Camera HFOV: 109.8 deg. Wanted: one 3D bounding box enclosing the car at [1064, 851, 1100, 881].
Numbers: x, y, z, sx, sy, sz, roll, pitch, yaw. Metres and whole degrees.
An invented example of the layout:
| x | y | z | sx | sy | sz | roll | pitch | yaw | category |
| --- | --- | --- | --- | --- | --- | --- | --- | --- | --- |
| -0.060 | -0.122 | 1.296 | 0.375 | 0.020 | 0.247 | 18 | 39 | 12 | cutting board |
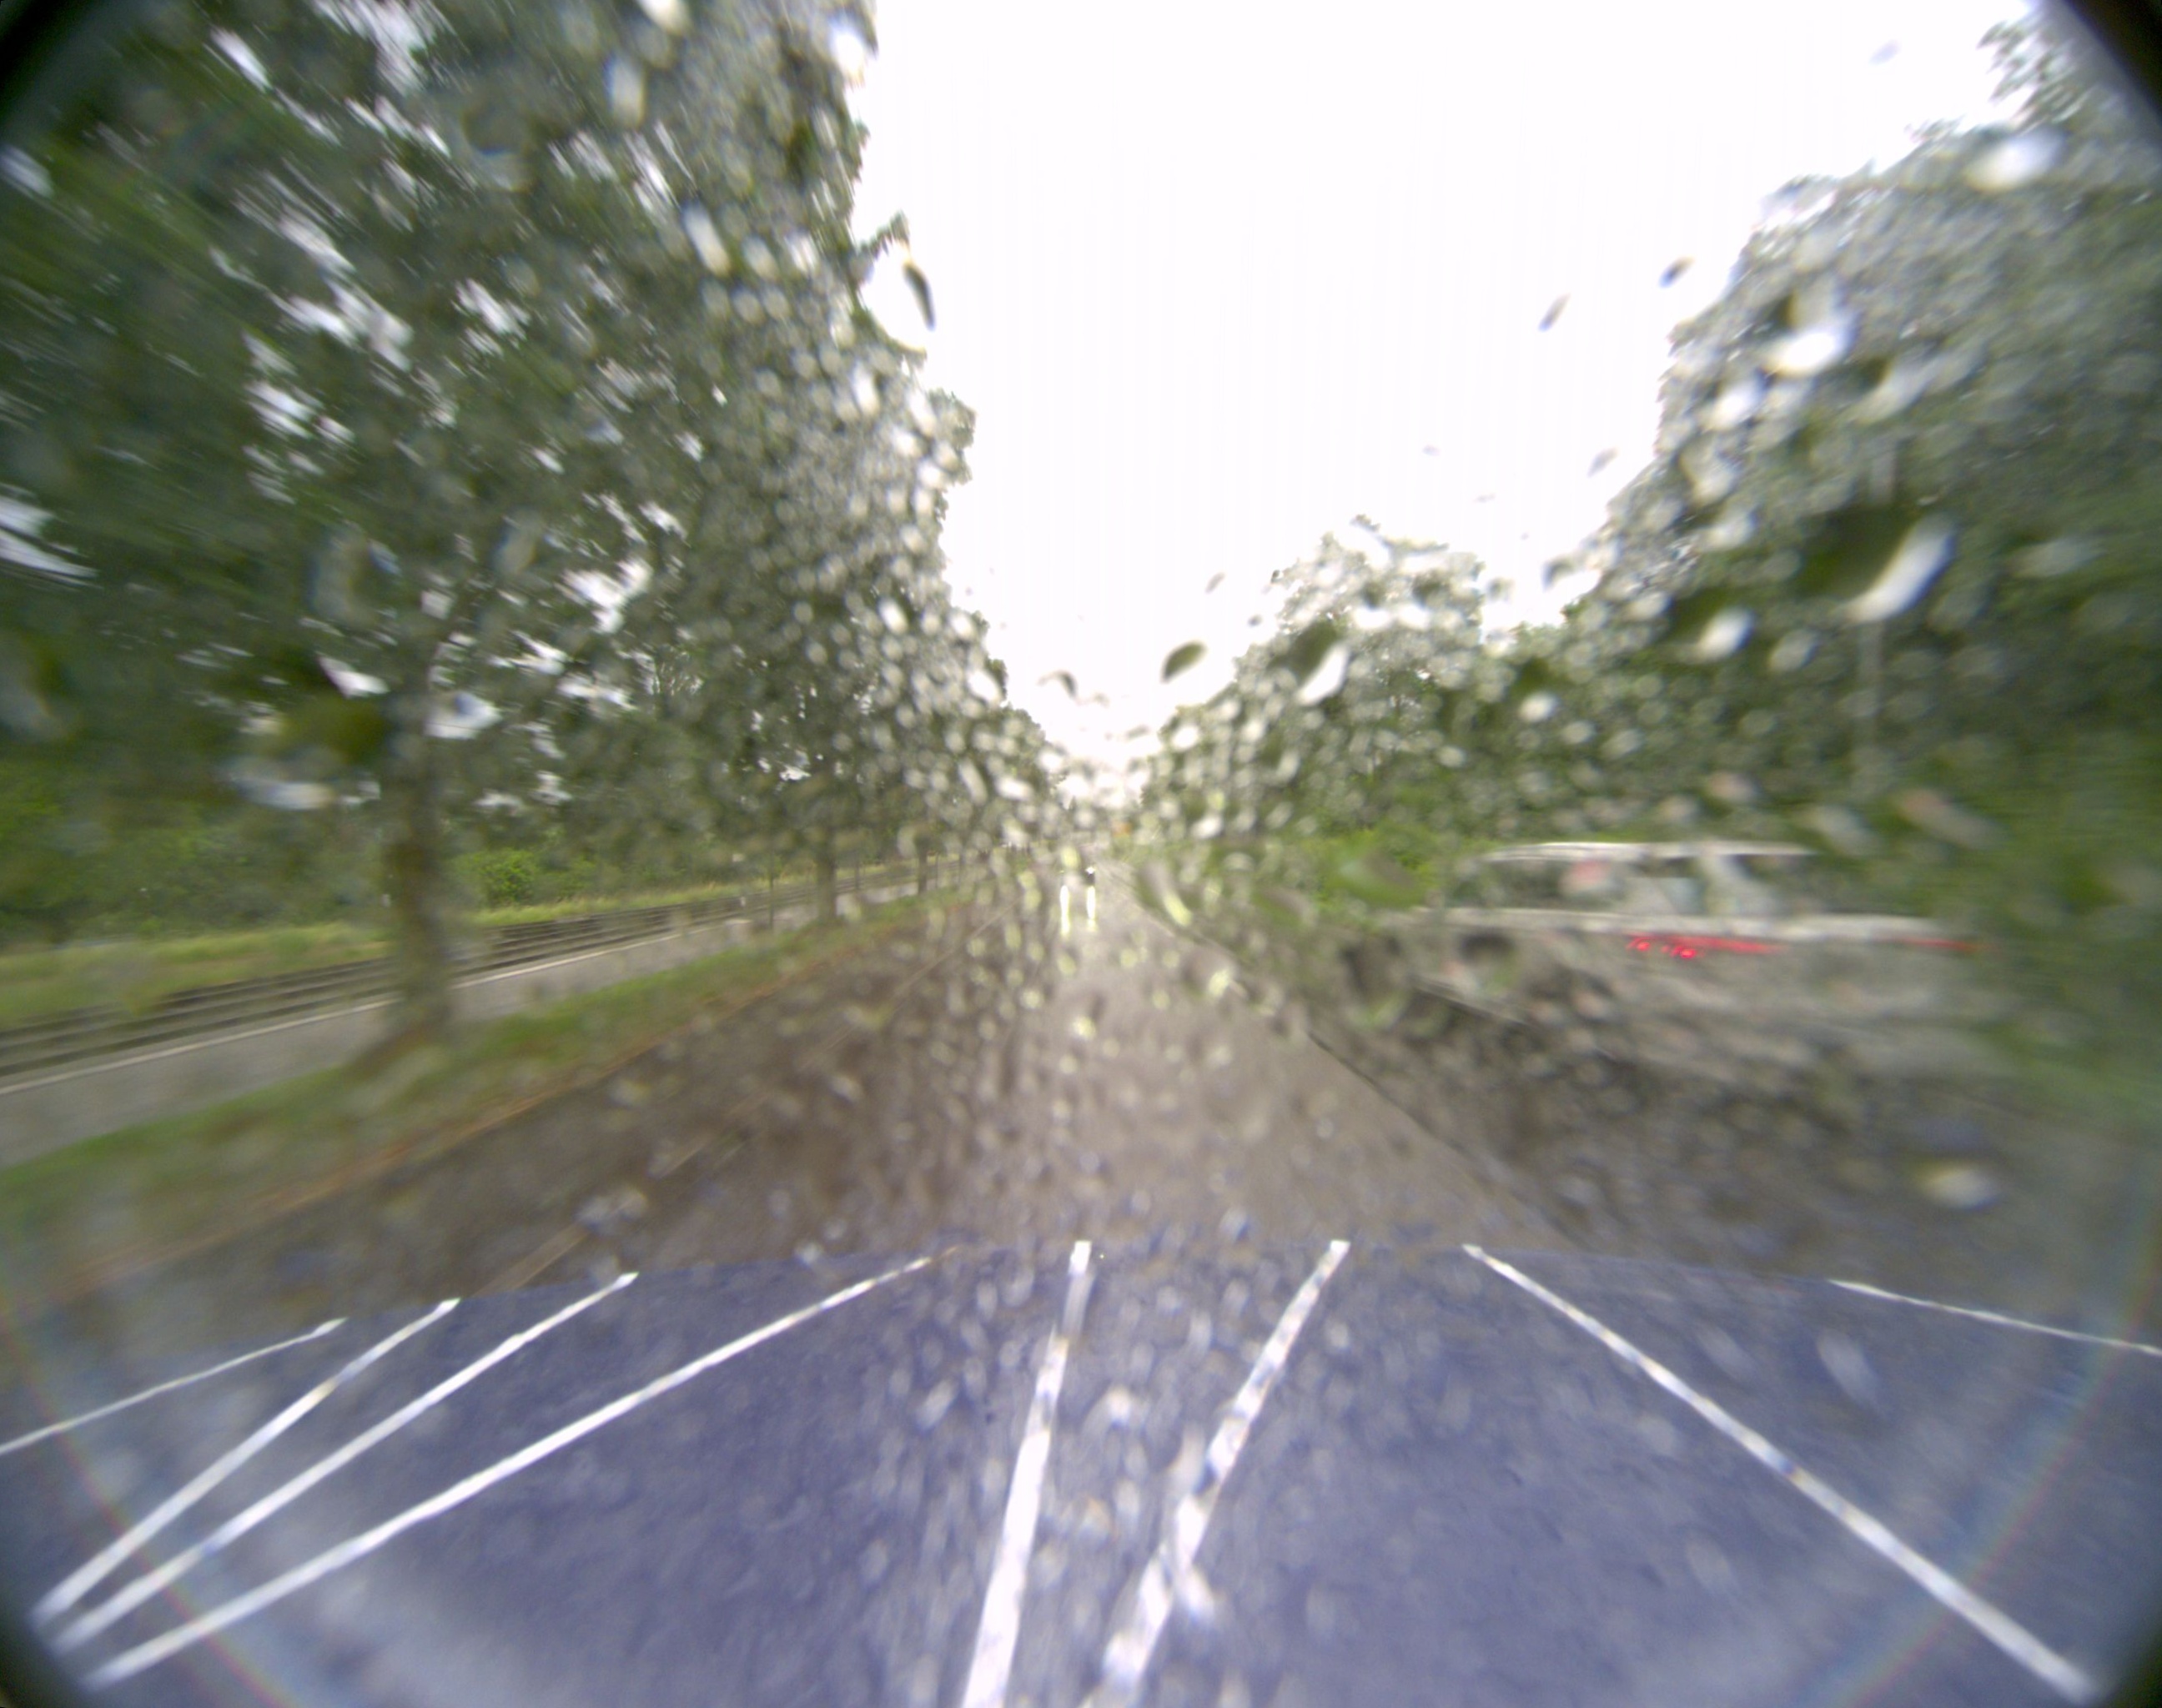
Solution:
| x | y | z | sx | sy | sz | roll | pitch | yaw | category |
| --- | --- | --- | --- | --- | --- | --- | --- | --- | --- |
| 0.119 | 0.595 | 40.988 | 1.764 | 1.477 | 3.790 | 1 | 1 | 3 | car |

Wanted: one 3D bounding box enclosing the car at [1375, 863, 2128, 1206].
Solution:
| x | y | z | sx | sy | sz | roll | pitch | yaw | category |
| --- | --- | --- | --- | --- | --- | --- | --- | --- | --- |
| 3.731 | 0.819 | 5.349 | 1.786 | 1.496 | 4.000 | 0 | 0 | 0 | car |

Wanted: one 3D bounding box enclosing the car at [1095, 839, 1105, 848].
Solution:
| x | y | z | sx | sy | sz | roll | pitch | yaw | category |
| --- | --- | --- | --- | --- | --- | --- | --- | --- | --- |
| 3.638 | -2.053 | 145.452 | 1.765 | 1.611 | 3.789 | 0 | 1 | -1 | car |
